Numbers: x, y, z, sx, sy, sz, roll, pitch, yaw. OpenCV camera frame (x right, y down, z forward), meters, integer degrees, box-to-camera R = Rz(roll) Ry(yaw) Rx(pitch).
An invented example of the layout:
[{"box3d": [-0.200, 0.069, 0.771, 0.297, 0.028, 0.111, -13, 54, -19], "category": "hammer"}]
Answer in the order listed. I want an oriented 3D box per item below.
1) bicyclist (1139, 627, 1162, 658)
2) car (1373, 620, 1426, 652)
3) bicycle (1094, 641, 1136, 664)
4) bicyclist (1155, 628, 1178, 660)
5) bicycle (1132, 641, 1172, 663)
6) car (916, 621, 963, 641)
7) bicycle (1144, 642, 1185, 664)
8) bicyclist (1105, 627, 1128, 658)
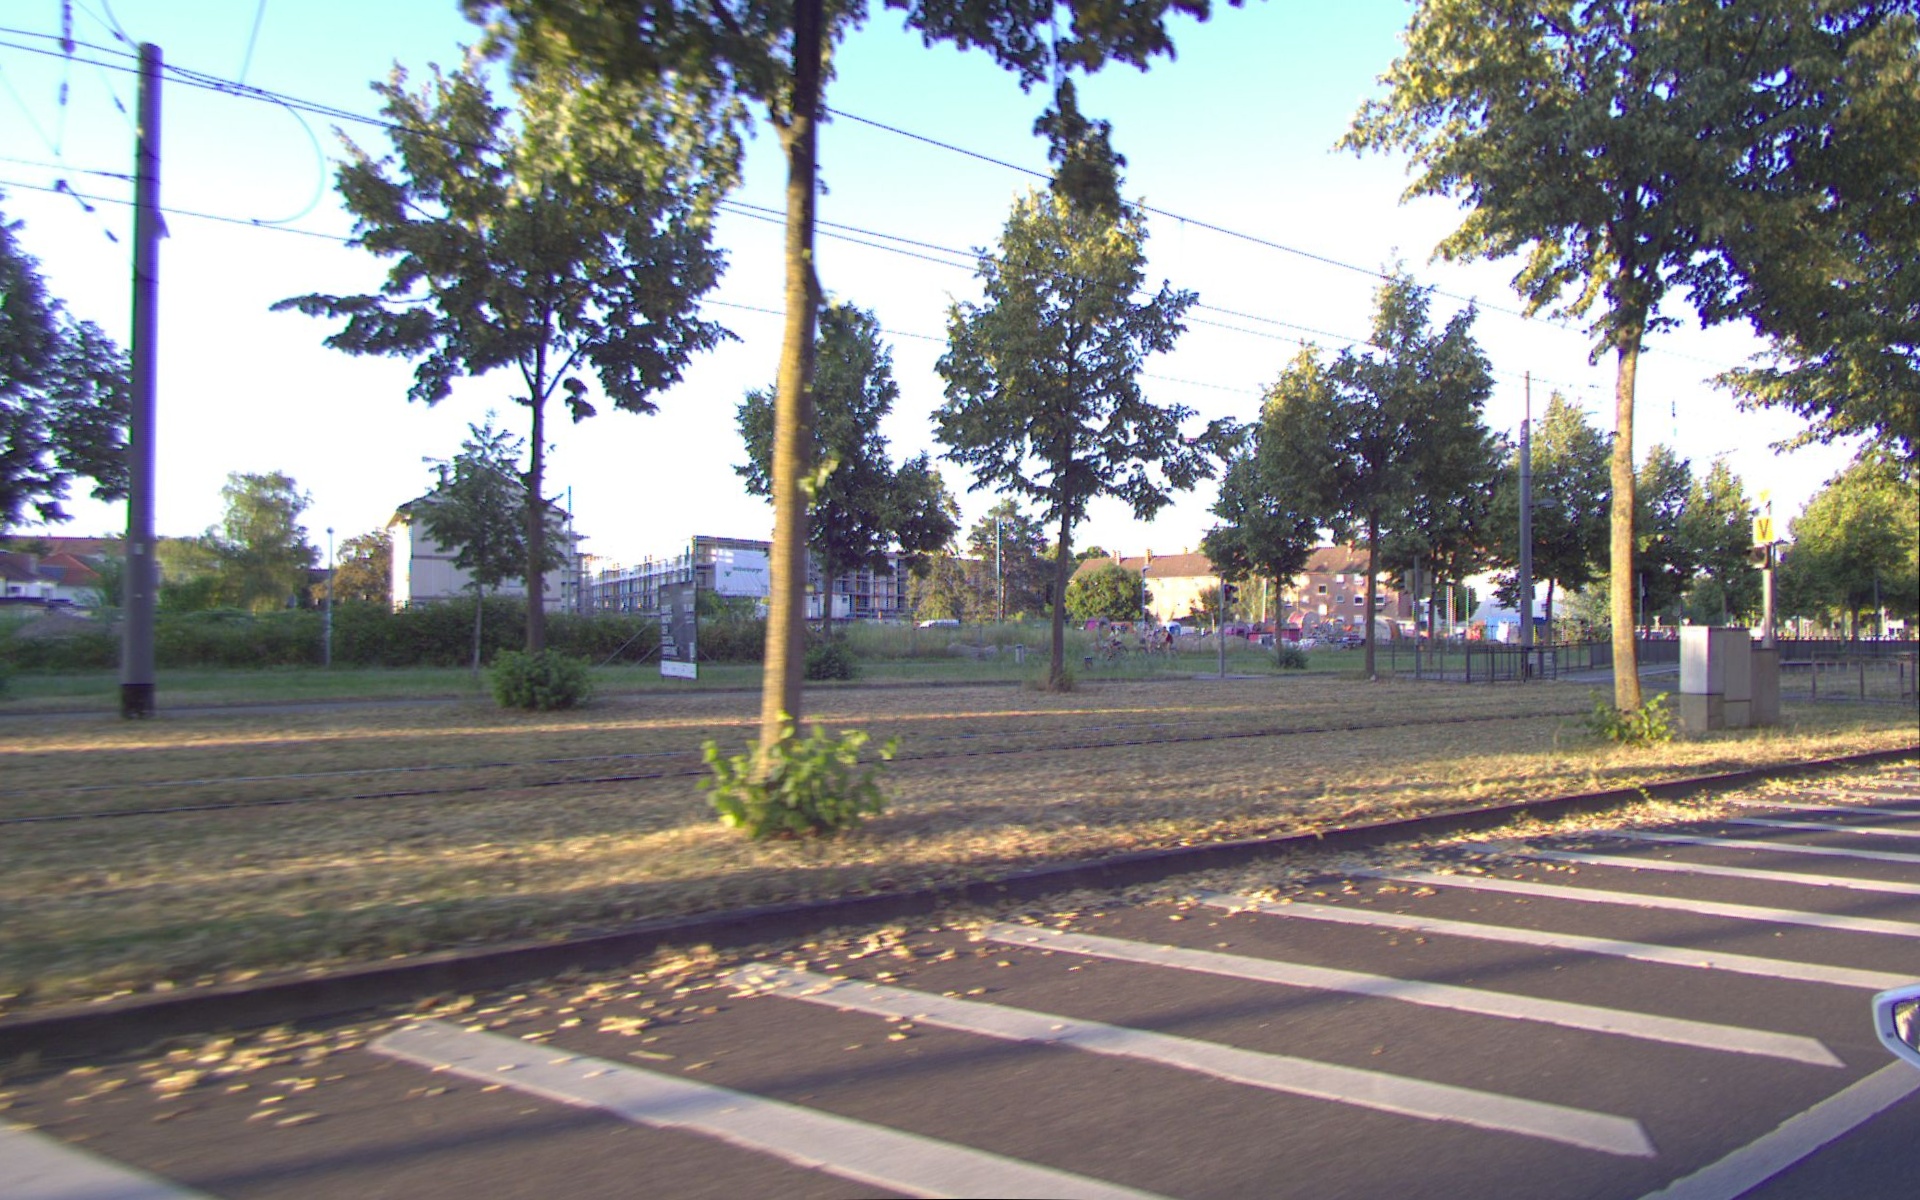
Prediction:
[{"box3d": [9.149, 2.048, 48.323, 0.927, 1.475, 0.616, 1, -2, -32], "category": "bicyclist"}, {"box3d": [31.959, 2.590, 72.934, 2.384, 2.254, 5.898, 0, -2, 36], "category": "car"}, {"box3d": [7.279, 2.459, 47.148, 2.060, 1.024, 0.616, 1, -2, -33], "category": "bicycle"}, {"box3d": [9.772, 2.083, 47.552, 0.927, 1.475, 0.616, 1, -2, -32], "category": "bicyclist"}, {"box3d": [9.269, 2.477, 48.396, 2.060, 1.024, 0.616, 1, -2, -33], "category": "bicycle"}, {"box3d": [-2.117, 3.272, 106.094, 4.761, 2.040, 1.979, 2, -2, -38], "category": "car"}, {"box3d": [9.677, 2.485, 47.493, 2.060, 1.024, 0.616, 1, -2, -33], "category": "bicycle"}, {"box3d": [7.347, 2.013, 47.185, 0.927, 1.440, 0.616, 1, -2, -32], "category": "bicyclist"}]
